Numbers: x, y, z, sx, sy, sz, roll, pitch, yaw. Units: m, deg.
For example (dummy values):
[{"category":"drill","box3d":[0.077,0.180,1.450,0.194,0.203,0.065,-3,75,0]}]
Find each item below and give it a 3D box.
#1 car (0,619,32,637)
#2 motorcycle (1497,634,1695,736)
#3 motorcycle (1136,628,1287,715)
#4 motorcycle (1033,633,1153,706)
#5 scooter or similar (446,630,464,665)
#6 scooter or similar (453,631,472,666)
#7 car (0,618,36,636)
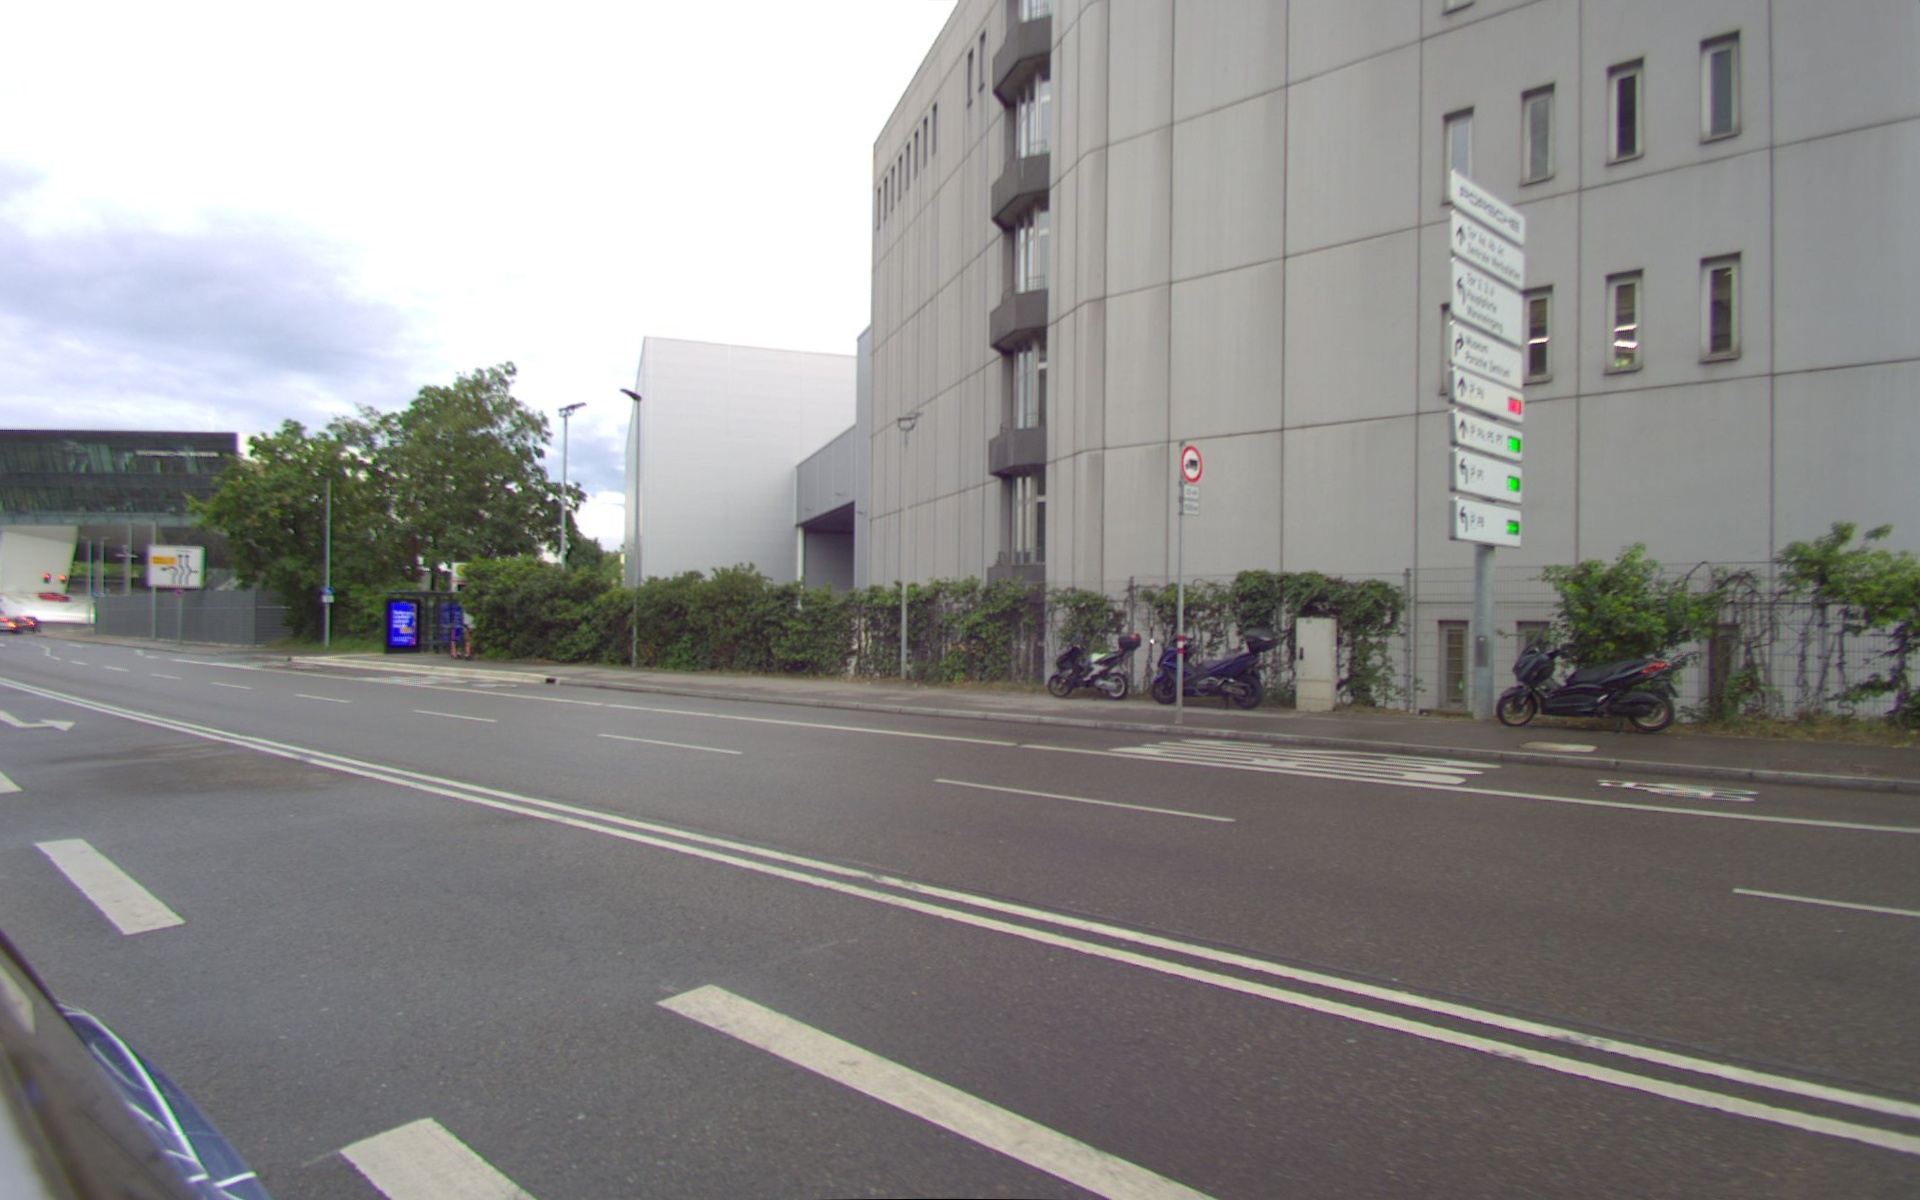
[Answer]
[{"category":"car","box3d":[-82.215,2.405,87.447,2.233,1.488,4.059,1,-1,-32]},{"category":"motorcycle","box3d":[8.514,1.092,13.606,2.156,1.257,0.776,-1,-2,40]},{"category":"motorcycle","box3d":[4.206,1.165,17.069,2.368,1.358,0.776,-1,-2,40]},{"category":"motorcycle","box3d":[2.446,1.254,18.807,2.156,1.260,0.776,-1,-2,40]},{"category":"scooter or similar","box3d":[-18.087,1.692,36.242,0.383,1.189,1.253,1,-1,-36]},{"category":"scooter or similar","box3d":[-17.281,1.675,35.132,0.373,1.190,1.381,1,-1,-36]},{"category":"car","box3d":[-86.728,2.478,93.038,1.834,1.663,3.799,1,-2,-30]}]
